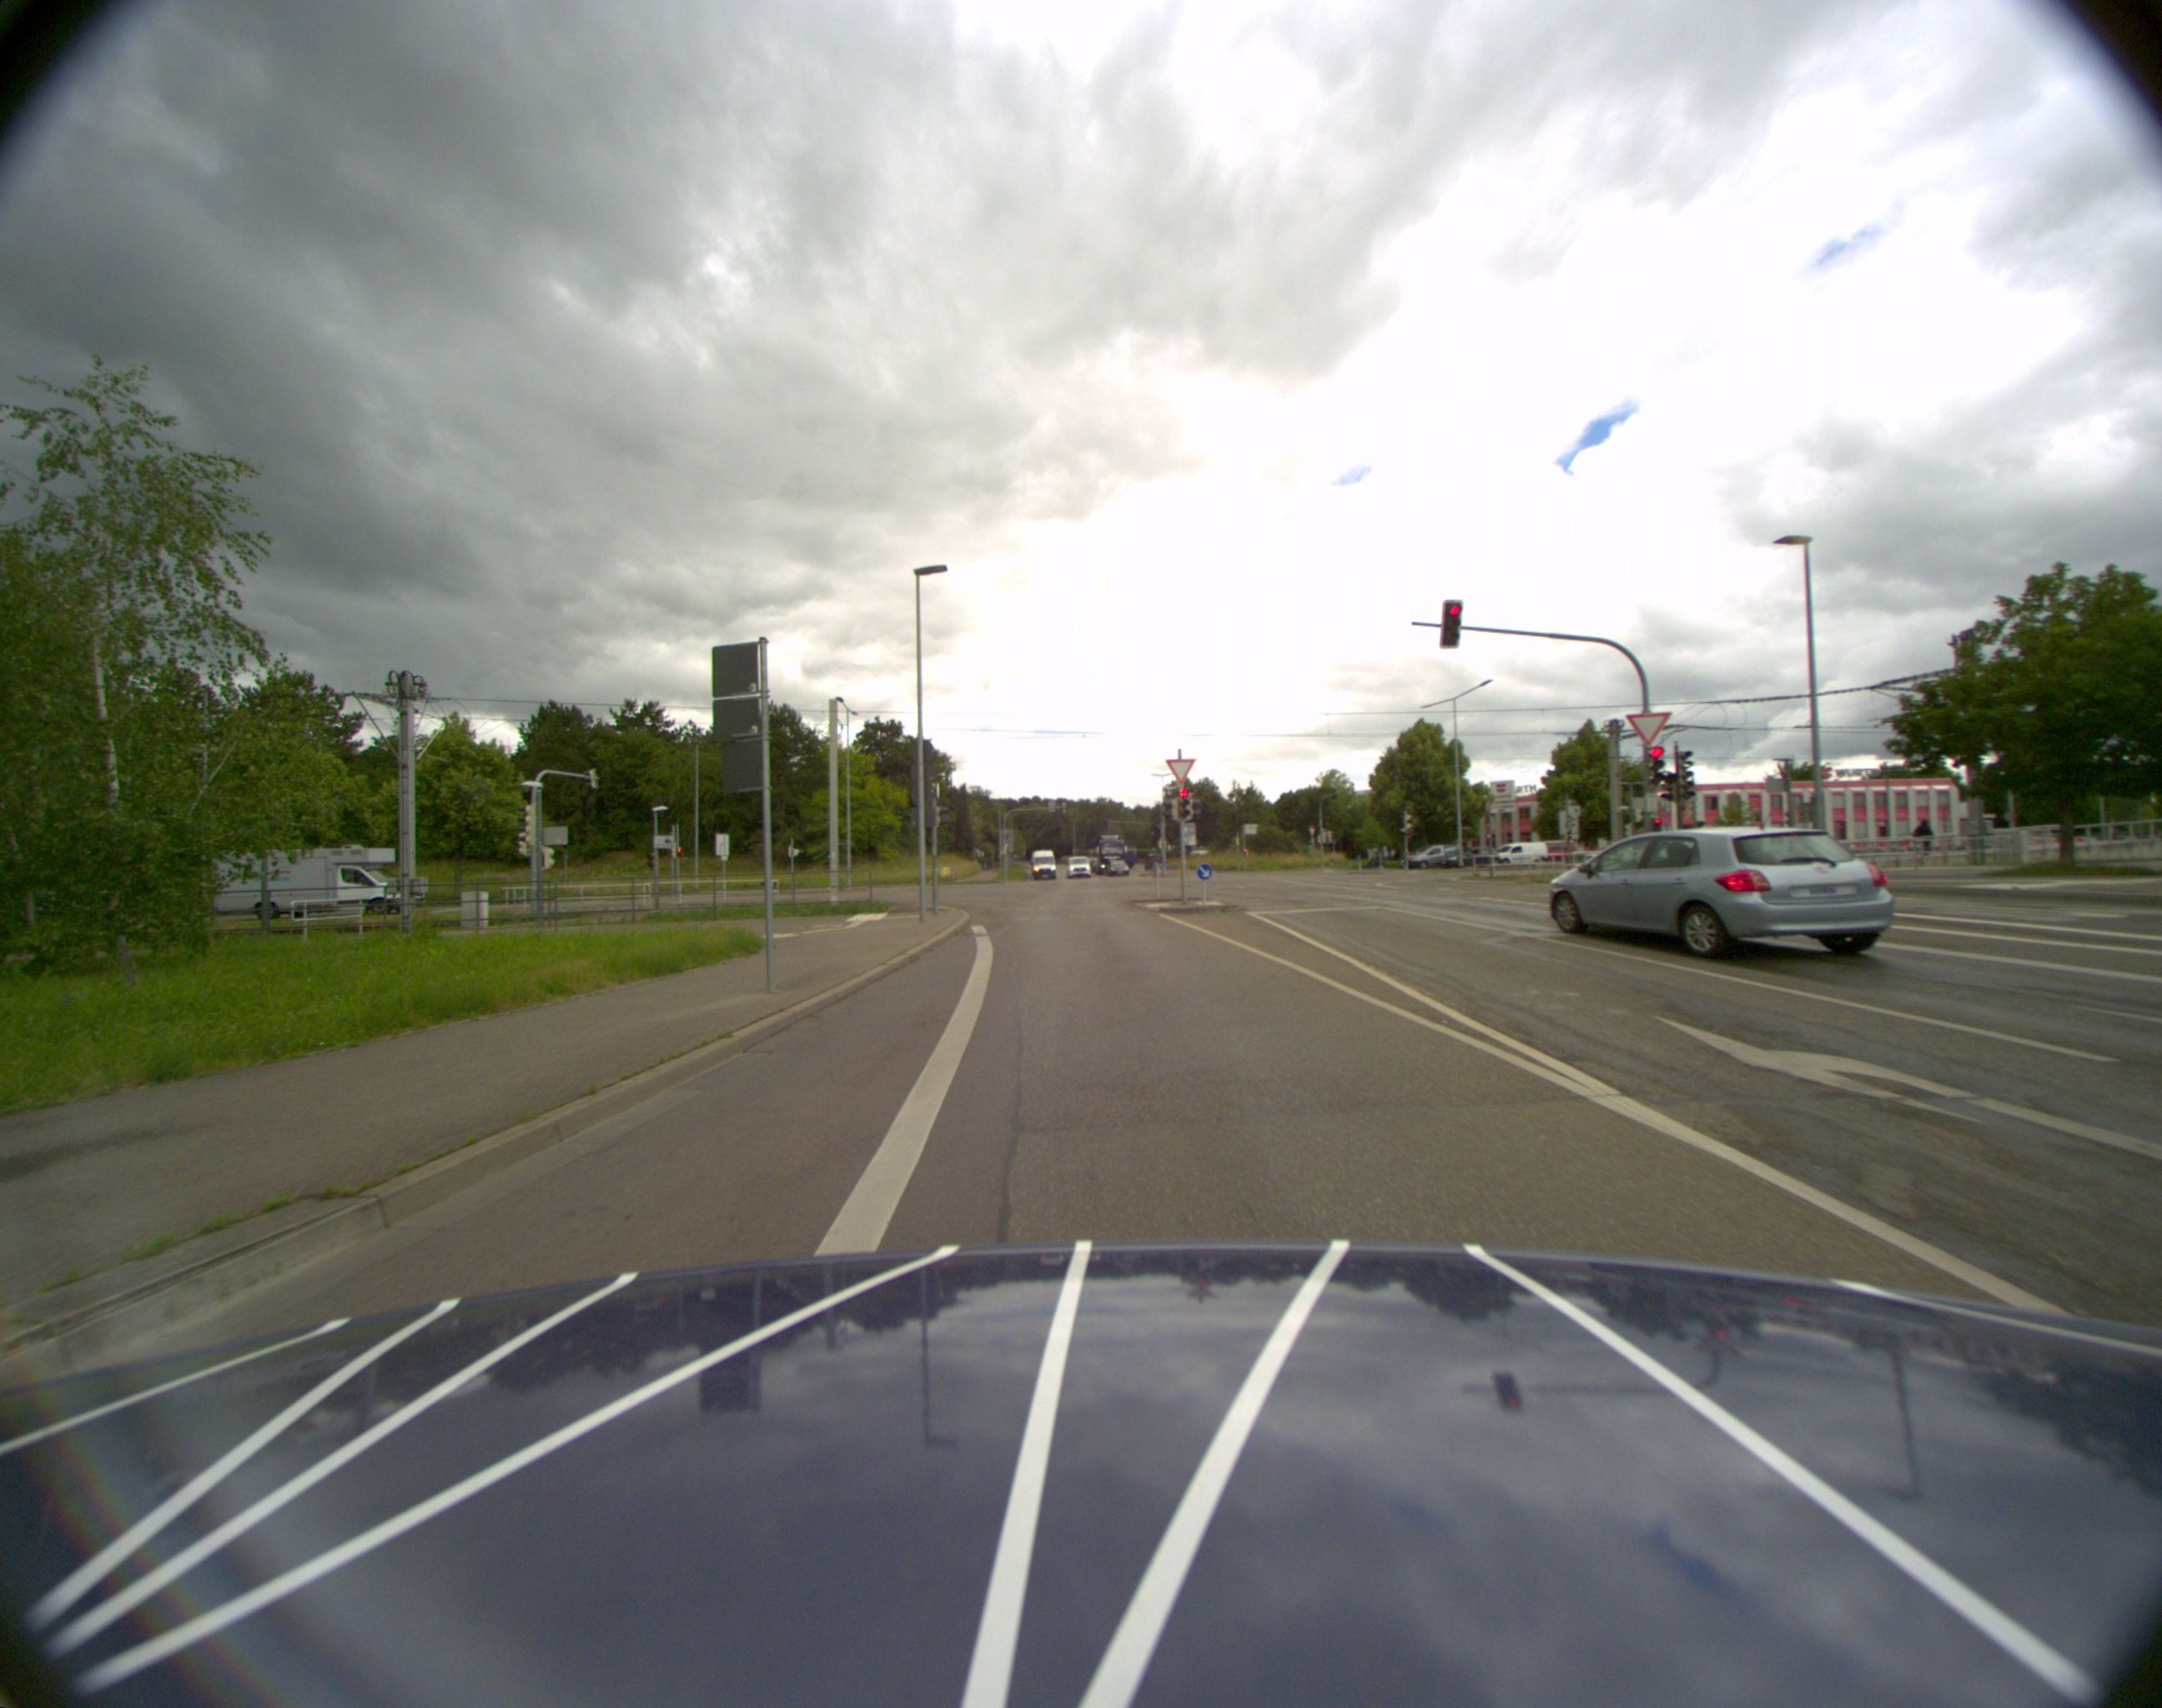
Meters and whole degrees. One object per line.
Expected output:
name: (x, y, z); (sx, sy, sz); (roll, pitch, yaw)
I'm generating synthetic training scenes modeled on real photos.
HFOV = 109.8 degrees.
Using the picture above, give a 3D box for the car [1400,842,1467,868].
car: (26.805, 0.068, 57.784); (4.220, 1.770, 1.814); (-2, 1, -3)

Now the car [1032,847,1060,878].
car: (-3.261, 0.733, 69.971); (2.227, 2.643, 5.958); (-3, 0, -4)

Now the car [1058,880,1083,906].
car: (-1.157, 4.015, 79.173); (2.227, 2.372, 5.959); (-3, 0, -3)

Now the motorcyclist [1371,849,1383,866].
motorcyclist: (24.749, 0.289, 63.475); (0.815, 1.413, 0.761); (-2, -1, 29)

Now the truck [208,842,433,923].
truck: (-31.978, 1.113, 32.260); (6.278, 2.995, 2.107); (-2, 4, -18)

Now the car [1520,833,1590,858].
car: (38.949, -0.708, 62.490); (4.454, 1.894, 2.183); (1, 0, -8)

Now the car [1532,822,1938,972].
car: (8.054, 0.436, 10.018); (1.831, 1.527, 4.220); (-1, 0, 3)

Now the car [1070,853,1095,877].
car: (0.123, 0.946, 70.255); (2.119, 1.979, 4.987); (-4, 0, -1)

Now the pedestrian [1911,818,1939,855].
pedestrian: (37.404, -0.771, 33.658); (0.545, 1.563, 0.564); (-4, 1, -7)

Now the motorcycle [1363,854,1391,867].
motorcycle: (24.725, 0.546, 63.489); (2.064, 1.084, 0.761); (-2, -1, 28)

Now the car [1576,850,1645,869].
car: (41.600, 0.419, 59.722); (4.220, 1.333, 1.814); (1, 0, -3)

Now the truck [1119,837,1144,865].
truck: (7.062, -0.410, 107.414); (2.785, 3.782, 8.389); (-2, 0, 0)

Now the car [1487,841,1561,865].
car: (34.424, -0.079, 59.118); (4.694, 1.781, 1.814); (-1, 0, -2)

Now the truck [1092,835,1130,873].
truck: (2.965, 0.009, 77.378); (3.073, 3.497, 5.958); (-3, 0, -4)

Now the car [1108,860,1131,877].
car: (3.475, 1.294, 69.396); (1.635, 1.433, 3.865); (-2, 0, -3)

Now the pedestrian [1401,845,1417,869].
pedestrian: (21.009, 0.193, 48.655); (0.670, 1.521, 0.716); (-2, 0, -2)

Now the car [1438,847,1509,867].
car: (28.335, 0.211, 54.965); (4.221, 1.333, 1.814); (1, 0, -5)

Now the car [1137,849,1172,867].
car: (8.133, 0.467, 84.707); (2.001, 1.865, 4.883); (-2, 0, -18)
